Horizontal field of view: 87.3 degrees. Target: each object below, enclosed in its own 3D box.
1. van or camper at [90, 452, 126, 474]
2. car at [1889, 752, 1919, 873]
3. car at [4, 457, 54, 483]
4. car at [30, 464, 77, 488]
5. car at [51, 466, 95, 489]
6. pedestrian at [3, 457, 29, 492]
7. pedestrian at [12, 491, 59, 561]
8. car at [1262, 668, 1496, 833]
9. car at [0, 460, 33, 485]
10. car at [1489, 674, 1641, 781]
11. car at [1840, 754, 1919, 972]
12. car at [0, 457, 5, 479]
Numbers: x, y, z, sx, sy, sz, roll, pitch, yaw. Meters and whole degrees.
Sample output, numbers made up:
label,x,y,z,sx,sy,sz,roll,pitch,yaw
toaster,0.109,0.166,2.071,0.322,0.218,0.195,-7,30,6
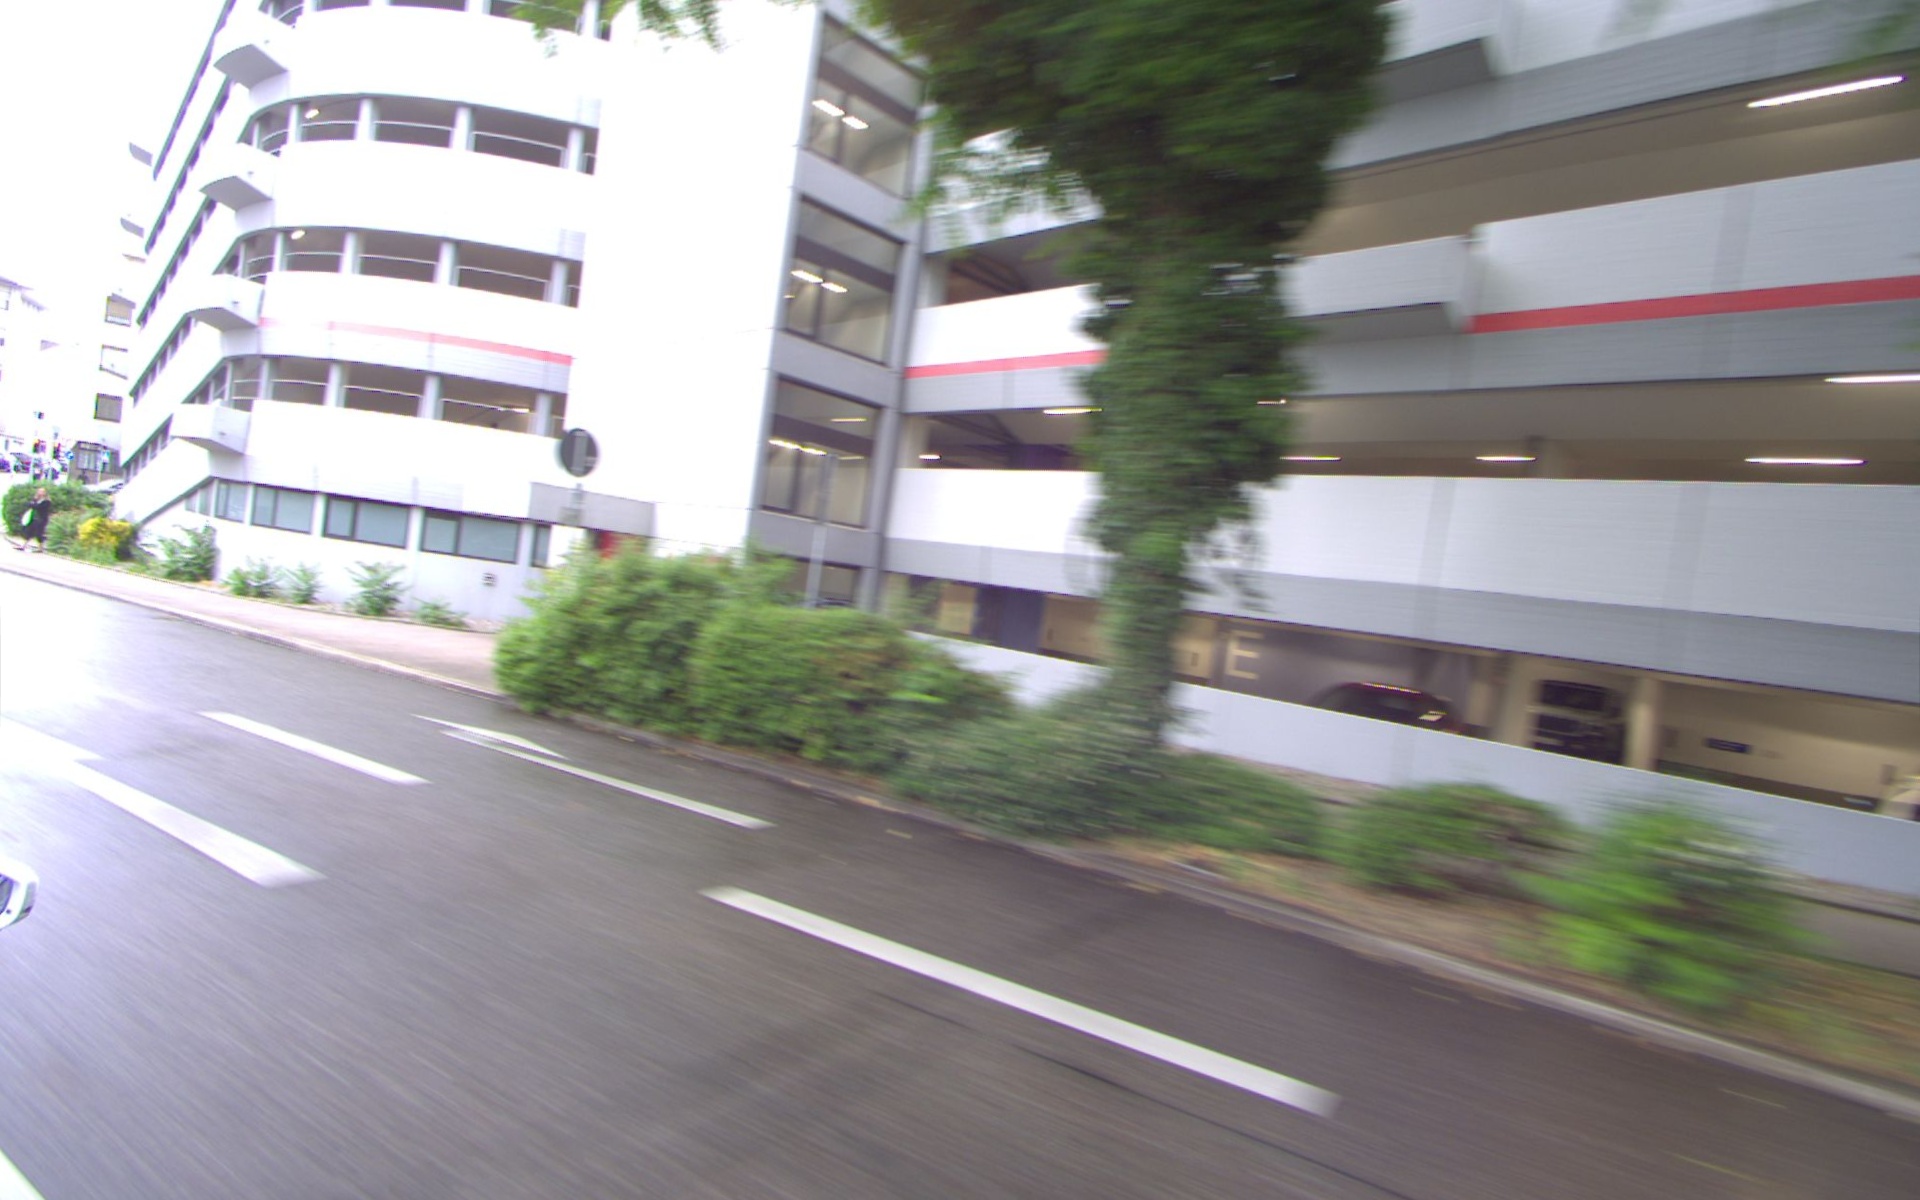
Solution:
label,x,y,z,sx,sy,sz,roll,pitch,yaw
van or camper,-100.028,-16.033,118.164,1.974,2.004,4.485,6,1,-25
car,17.013,3.657,16.976,1.792,1.804,3.979,7,-1,43
car,-80.903,-11.284,87.472,1.974,1.727,3.975,6,1,-25
car,-83.511,-11.397,92.758,1.974,1.727,3.975,6,1,-25
car,-85.886,-11.822,97.466,1.974,1.727,3.975,6,1,-25
pedestrian,-63.780,-8.462,67.958,0.931,2.156,0.856,7,2,25
pedestrian,-24.500,-1.950,26.679,0.638,1.730,0.469,7,-1,-23
car,5.992,2.052,14.211,1.792,1.804,3.448,7,-1,43
car,-78.783,-10.577,83.100,1.974,1.727,3.975,6,1,-25
car,12.774,2.642,21.127,1.792,1.804,3.979,7,-1,43
car,10.096,2.613,9.984,1.792,1.804,3.448,7,-1,43
car,-76.713,-10.529,78.407,1.974,1.727,3.975,6,1,-25
